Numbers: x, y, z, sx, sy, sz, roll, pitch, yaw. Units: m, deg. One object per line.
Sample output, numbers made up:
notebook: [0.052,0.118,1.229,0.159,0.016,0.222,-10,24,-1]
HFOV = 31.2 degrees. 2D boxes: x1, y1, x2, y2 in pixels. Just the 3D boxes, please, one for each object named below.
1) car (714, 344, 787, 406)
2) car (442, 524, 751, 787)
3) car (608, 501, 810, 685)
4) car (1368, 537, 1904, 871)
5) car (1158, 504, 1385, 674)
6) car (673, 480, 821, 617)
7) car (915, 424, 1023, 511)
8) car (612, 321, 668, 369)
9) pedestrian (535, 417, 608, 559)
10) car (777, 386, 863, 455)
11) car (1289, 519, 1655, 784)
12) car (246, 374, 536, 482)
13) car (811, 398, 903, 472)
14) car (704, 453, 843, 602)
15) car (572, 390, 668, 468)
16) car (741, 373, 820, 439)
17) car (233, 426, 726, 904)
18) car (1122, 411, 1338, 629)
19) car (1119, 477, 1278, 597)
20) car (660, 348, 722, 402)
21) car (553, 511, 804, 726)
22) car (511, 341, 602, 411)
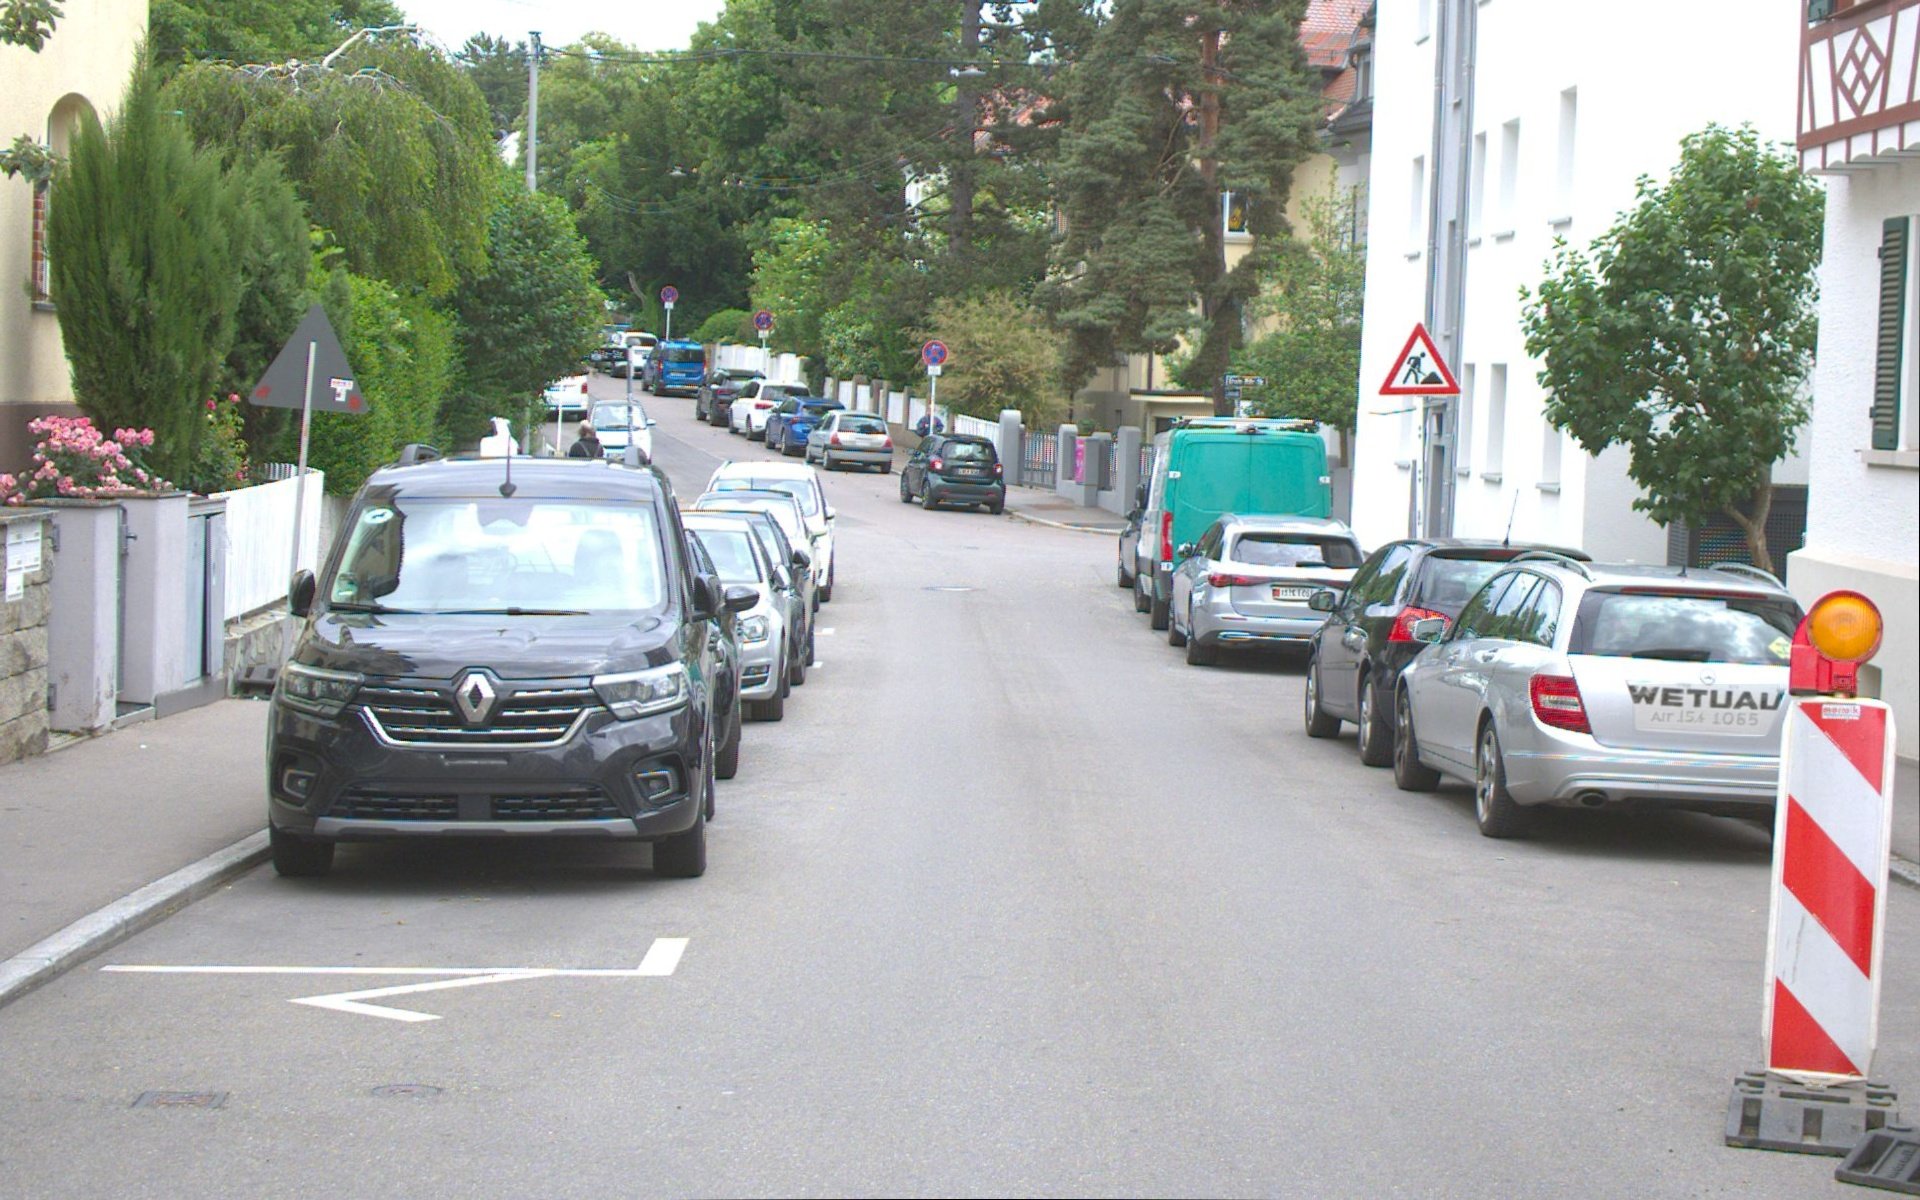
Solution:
car: [-6.050,-6.482,98.899,1.634,1.532,3.532,3,5,-10]
car: [-2.133,0.267,21.001,1.642,1.383,3.860,1,2,-3]
car: [-2.170,-0.116,30.521,1.596,1.473,3.992,1,2,-2]
car: [3.494,0.459,18.655,1.818,1.437,4.452,3,2,-2]
car: [3.038,-0.152,34.228,1.725,1.443,3.881,2,3,-2]
car: [-2.452,-0.638,40.268,1.596,1.408,3.663,1,3,-2]
car: [0.163,-2.756,70.917,1.634,1.478,3.532,3,5,-9]
car: [-11.508,-9.161,123.420,1.634,1.532,3.532,3,5,-10]
pedestrian: [-5.426,-1.570,48.000,0.791,1.926,0.919,3,2,2]
car: [-3.567,-4.563,87.095,1.634,1.478,3.532,3,5,-10]
car: [3.358,0.278,23.231,1.689,1.514,3.881,3,2,-2]
car: [-9.995,-3.015,60.648,1.999,1.634,4.801,5,3,41]
car: [-2.499,-3.986,82.563,1.634,1.478,3.532,3,5,-10]
car: [-2.371,-0.969,44.329,1.672,1.651,3.864,1,5,-2]
car: [-7.930,-3.997,79.914,1.672,1.651,3.865,0,5,-14]
car: [-4.885,-5.269,93.127,1.634,1.532,3.532,3,5,-10]
car: [-2.002,0.206,15.510,1.844,1.809,4.545,1,1,-4]
car: [3.120,-1.001,40.598,1.980,2.354,4.278,2,3,-2]
car: [3.201,-0.889,46.822,1.725,1.443,3.881,2,3,-2]
car: [-8.900,-7.434,113.395,1.634,1.532,3.532,3,5,-10]
car: [-2.030,0.077,25.646,1.642,1.412,3.984,1,2,-2]
car: [-11.568,-6.422,98.379,1.903,1.870,4.598,0,5,-15]
